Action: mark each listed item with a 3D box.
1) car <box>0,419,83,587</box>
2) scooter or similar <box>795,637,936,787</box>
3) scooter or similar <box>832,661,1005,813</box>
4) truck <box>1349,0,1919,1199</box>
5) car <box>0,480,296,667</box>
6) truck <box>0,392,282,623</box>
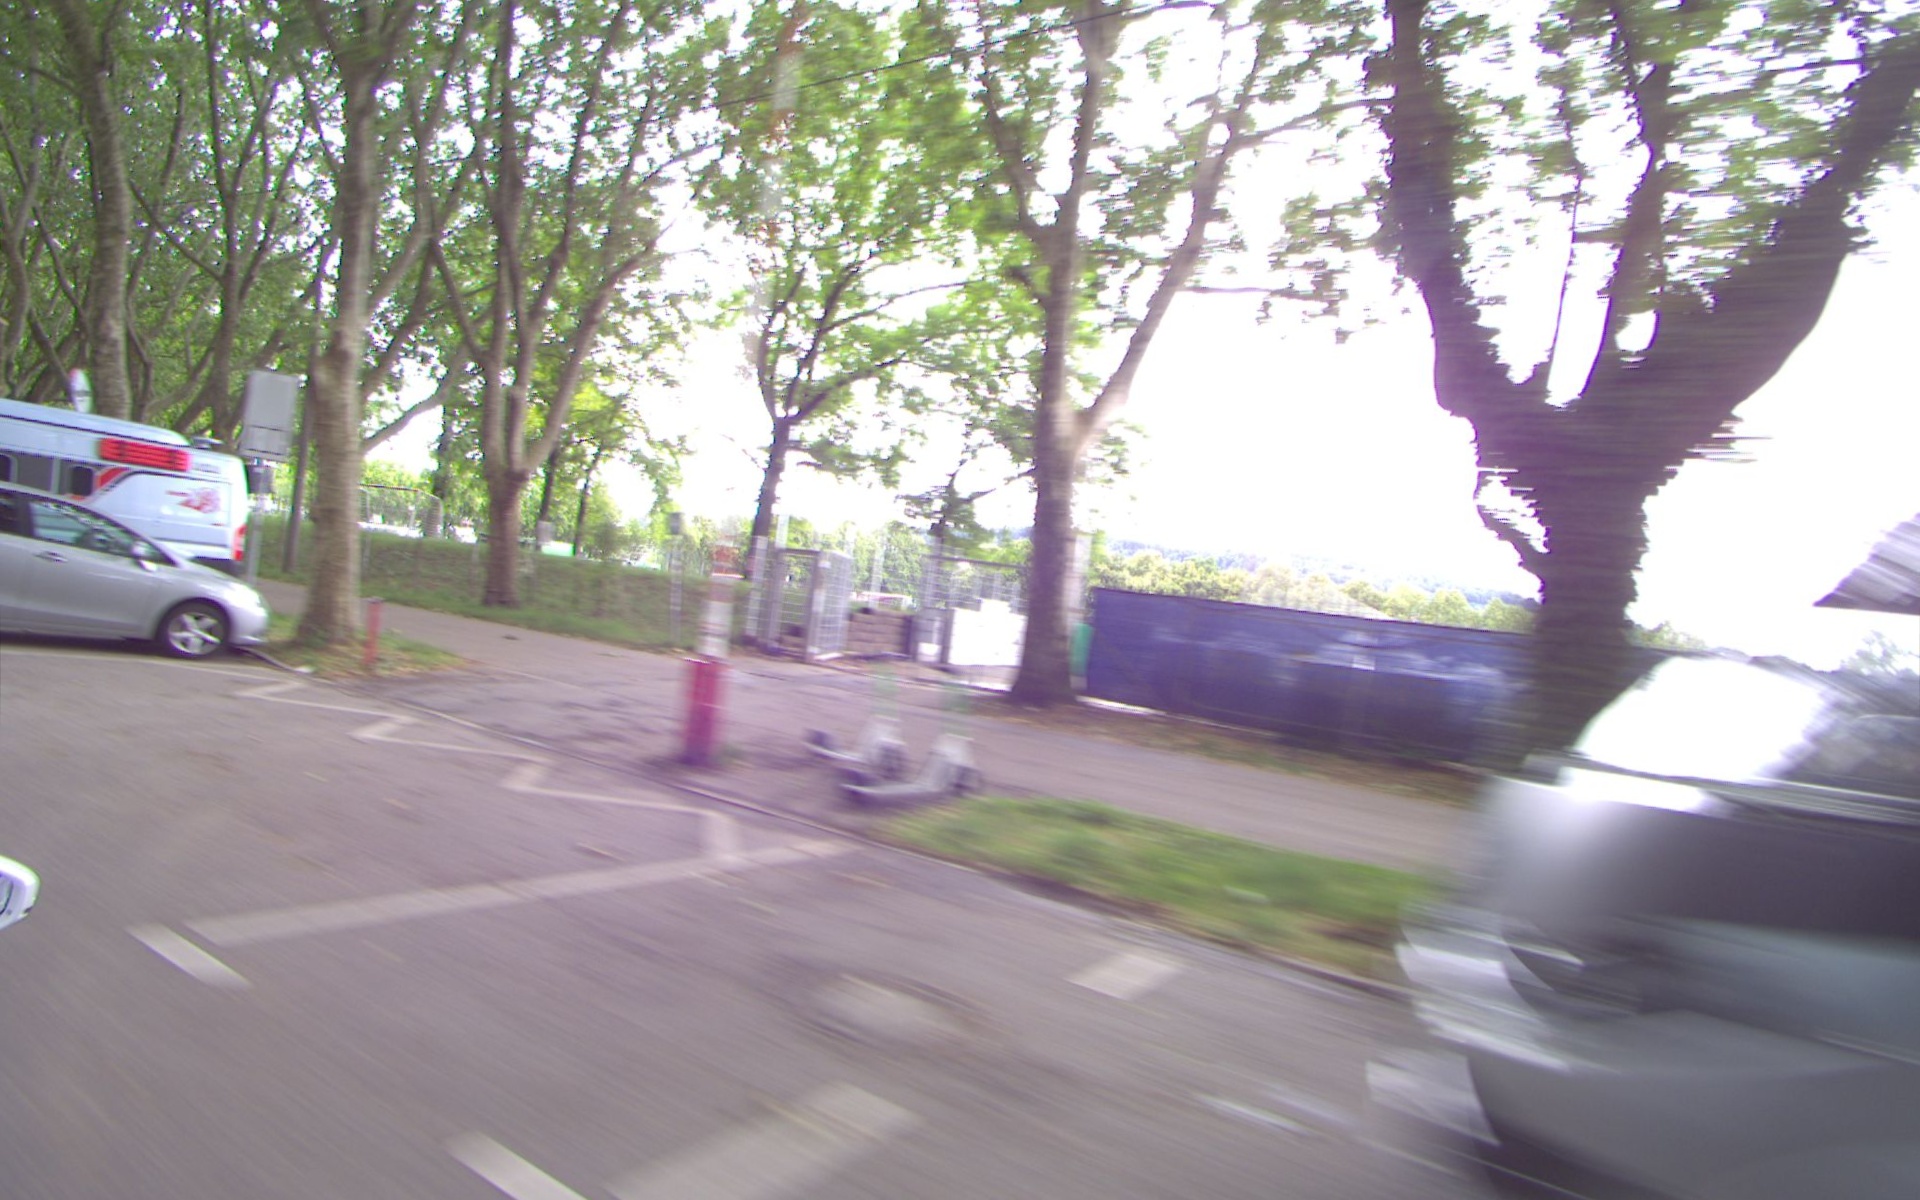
[{"bbox_3d":[-17.961,-1.971,16.185,1.925,2.719,5.240,7,-3,32],"label":"car"},{"bbox_3d":[-0.902,1.031,9.457,1.254,1.198,0.386,7,-1,37],"label":"scooter or similar"},{"bbox_3d":[-0.357,1.153,8.579,1.258,1.142,0.597,4,4,-28],"label":"scooter or similar"},{"bbox_3d":[4.696,0.831,1.481,7.401,2.972,2.467,7,-1,23],"label":"truck"},{"bbox_3d":[-9.896,-0.383,10.604,1.775,1.635,4.349,7,-3,34],"label":"car"},{"bbox_3d":[-13.421,-1.425,13.813,2.062,2.746,6.308,7,-2,31],"label":"truck"}]
